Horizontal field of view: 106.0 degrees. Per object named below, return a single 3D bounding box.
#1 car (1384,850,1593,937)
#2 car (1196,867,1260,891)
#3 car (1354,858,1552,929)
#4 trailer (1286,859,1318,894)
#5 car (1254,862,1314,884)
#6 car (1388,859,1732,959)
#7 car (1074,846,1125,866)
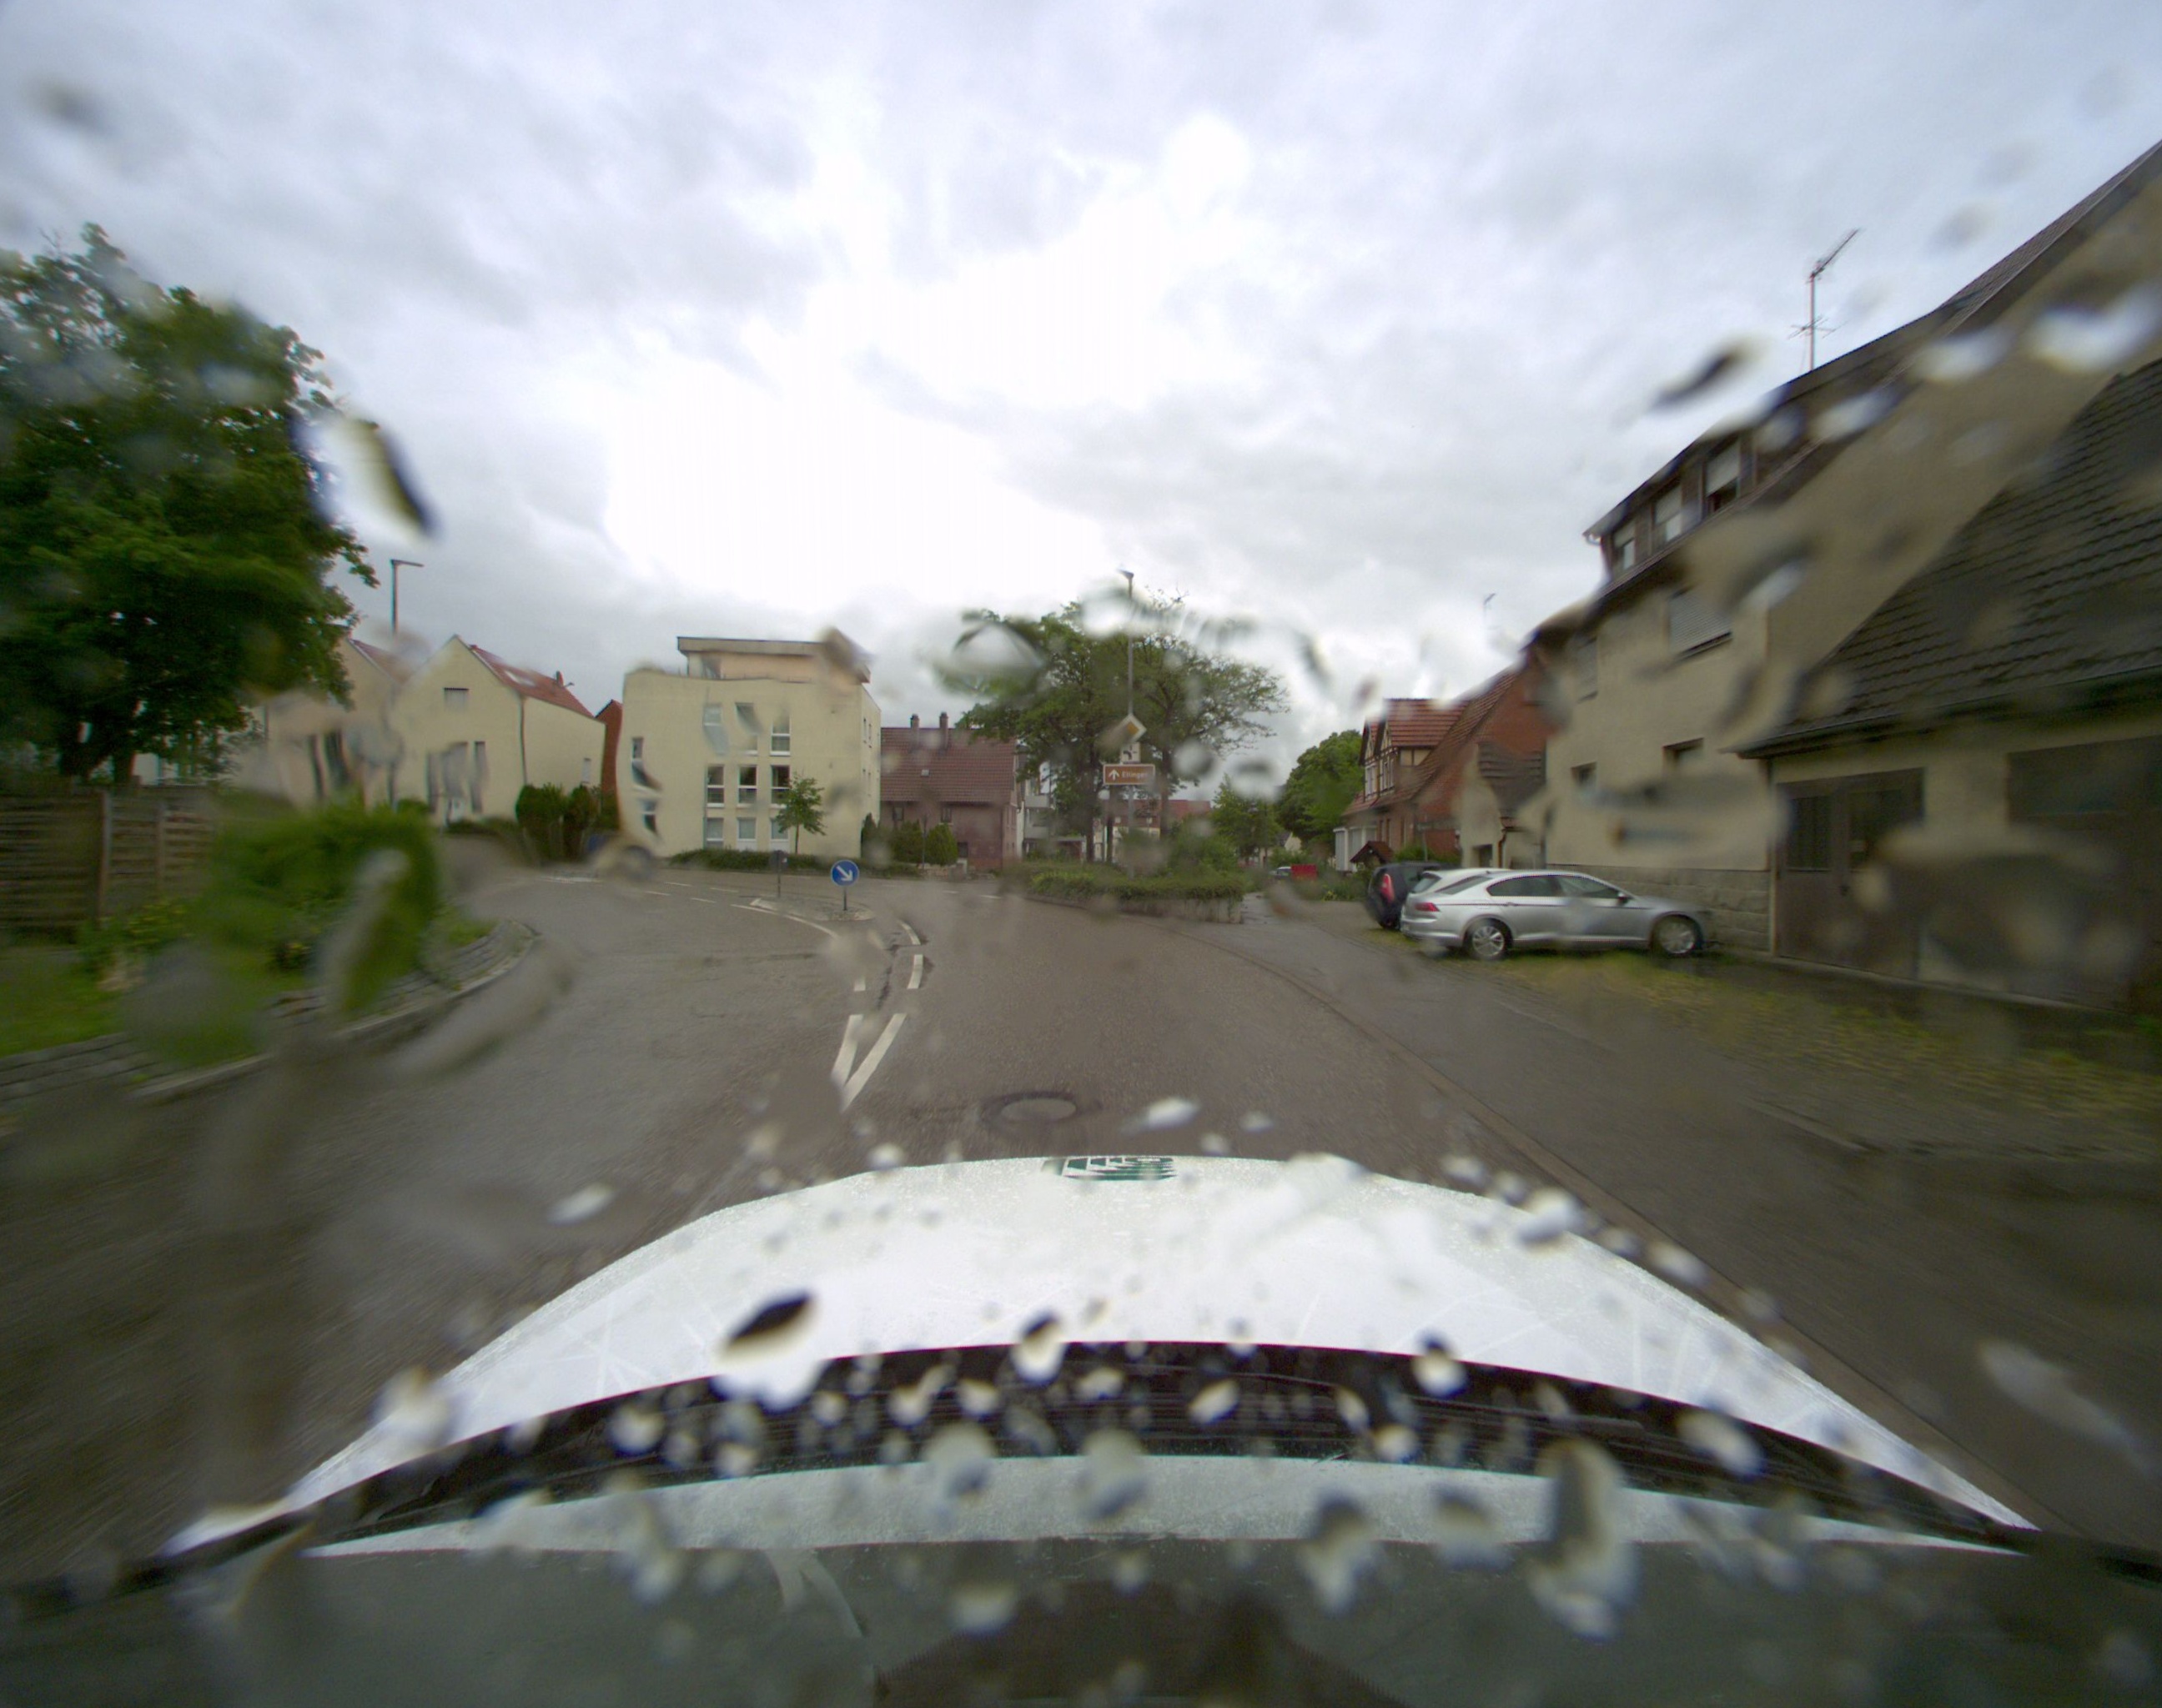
[{"bbox_3d":[8.272,0.822,16.804,3.403,1.530,1.721,-3,-3,5],"label":"car"},{"bbox_3d":[8.926,1.521,49.680,3.745,1.338,1.718,1,0,9],"label":"car"},{"bbox_3d":[8.857,0.939,19.655,3.971,1.583,1.749,-1,-2,2],"label":"car"},{"bbox_3d":[11.228,1.117,41.499,1.398,1.649,2.734,3,0,13],"label":"trailer"},{"bbox_3d":[16.972,1.570,68.045,4.427,1.552,2.012,3,0,28],"label":"car"},{"bbox_3d":[7.775,0.891,13.680,4.584,1.415,1.826,-3,-1,9],"label":"car"},{"bbox_3d":[1.501,0.154,65.161,3.973,1.456,1.947,3,0,1],"label":"car"}]
